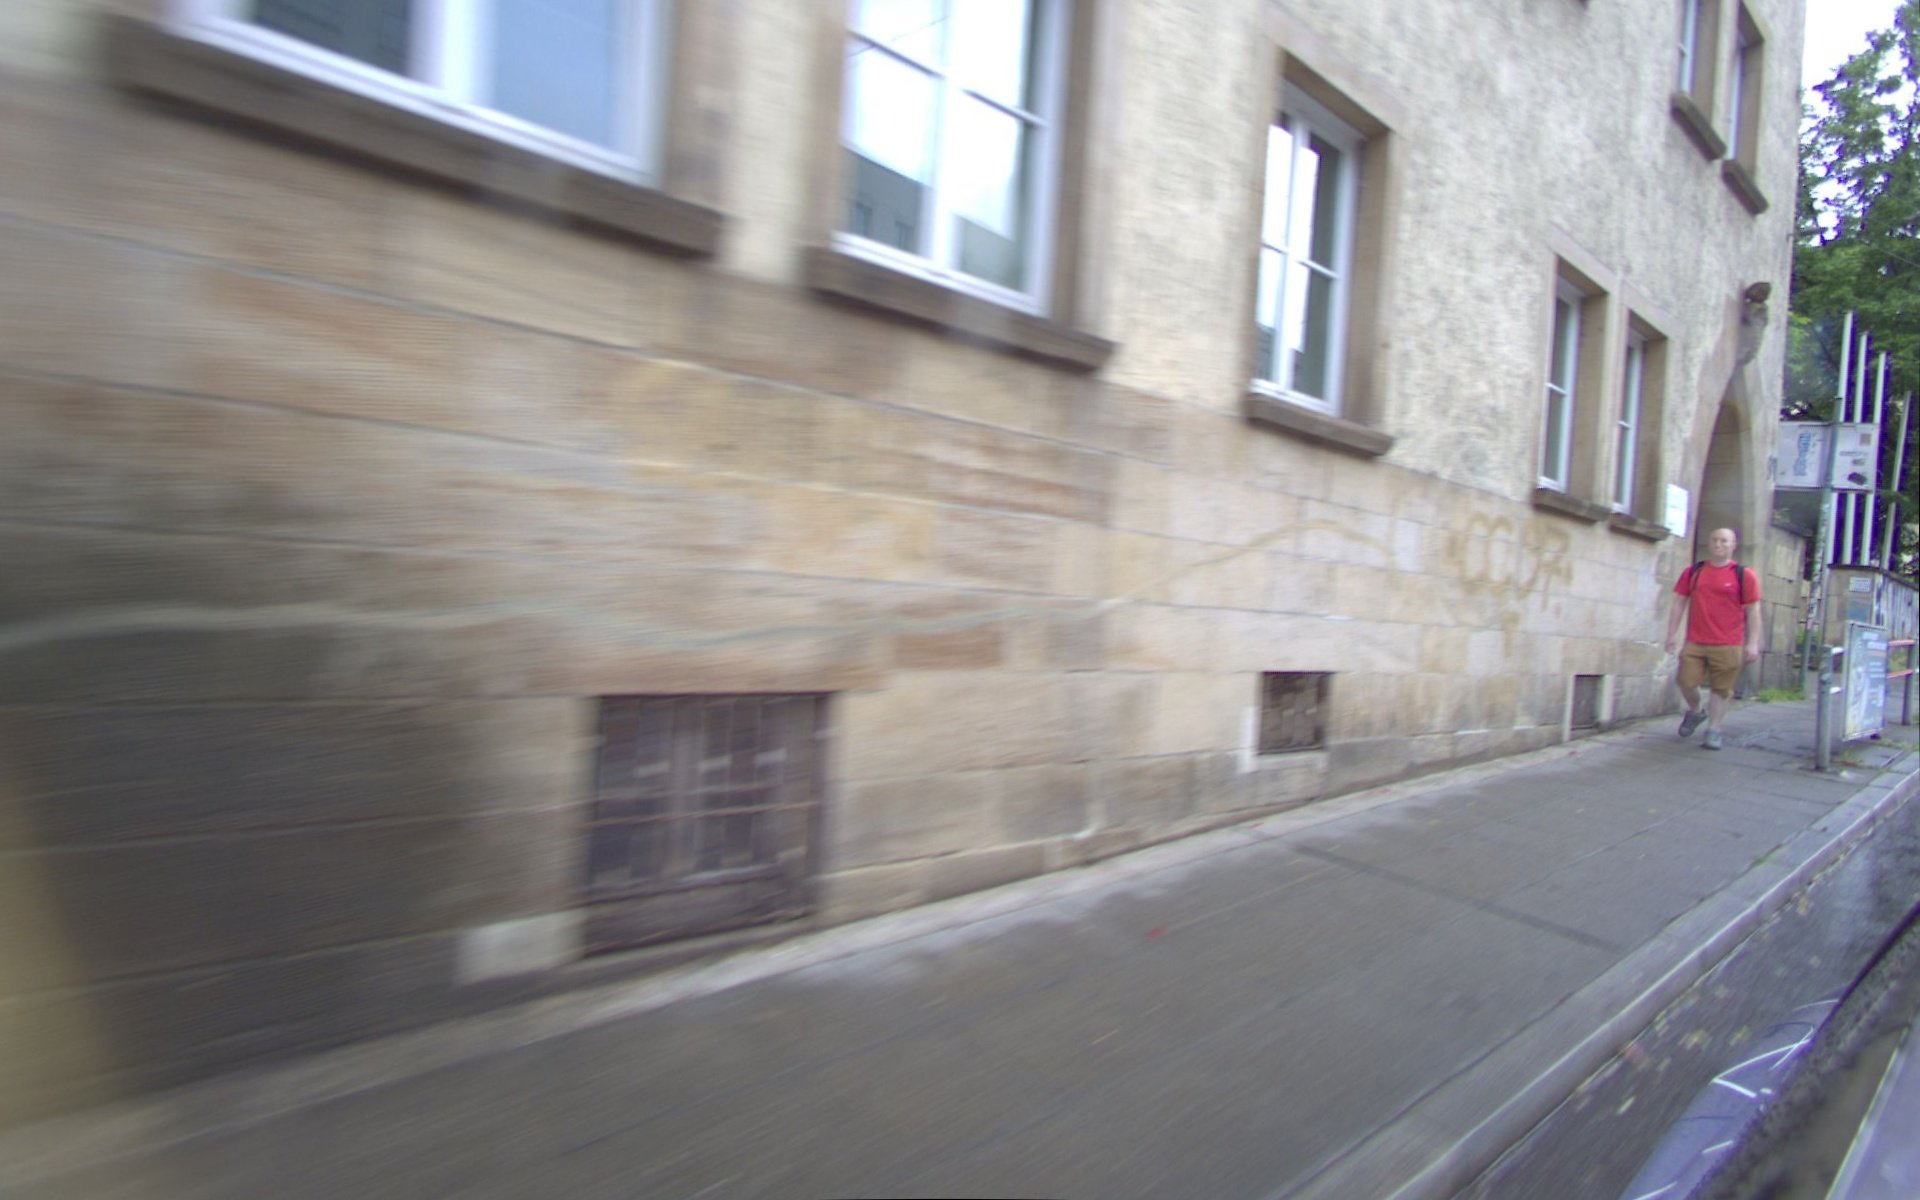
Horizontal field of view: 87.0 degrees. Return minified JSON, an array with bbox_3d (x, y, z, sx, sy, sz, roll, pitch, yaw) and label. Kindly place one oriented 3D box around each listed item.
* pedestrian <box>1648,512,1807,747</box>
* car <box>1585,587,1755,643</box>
[{"bbox_3d":[6.295,0.203,8.309,0.804,1.784,0.749,-1,5,-40],"label":"pedestrian"},{"bbox_3d":[24.796,0.493,35.530,1.786,1.802,4.539,-1,0,-29],"label":"car"}]
